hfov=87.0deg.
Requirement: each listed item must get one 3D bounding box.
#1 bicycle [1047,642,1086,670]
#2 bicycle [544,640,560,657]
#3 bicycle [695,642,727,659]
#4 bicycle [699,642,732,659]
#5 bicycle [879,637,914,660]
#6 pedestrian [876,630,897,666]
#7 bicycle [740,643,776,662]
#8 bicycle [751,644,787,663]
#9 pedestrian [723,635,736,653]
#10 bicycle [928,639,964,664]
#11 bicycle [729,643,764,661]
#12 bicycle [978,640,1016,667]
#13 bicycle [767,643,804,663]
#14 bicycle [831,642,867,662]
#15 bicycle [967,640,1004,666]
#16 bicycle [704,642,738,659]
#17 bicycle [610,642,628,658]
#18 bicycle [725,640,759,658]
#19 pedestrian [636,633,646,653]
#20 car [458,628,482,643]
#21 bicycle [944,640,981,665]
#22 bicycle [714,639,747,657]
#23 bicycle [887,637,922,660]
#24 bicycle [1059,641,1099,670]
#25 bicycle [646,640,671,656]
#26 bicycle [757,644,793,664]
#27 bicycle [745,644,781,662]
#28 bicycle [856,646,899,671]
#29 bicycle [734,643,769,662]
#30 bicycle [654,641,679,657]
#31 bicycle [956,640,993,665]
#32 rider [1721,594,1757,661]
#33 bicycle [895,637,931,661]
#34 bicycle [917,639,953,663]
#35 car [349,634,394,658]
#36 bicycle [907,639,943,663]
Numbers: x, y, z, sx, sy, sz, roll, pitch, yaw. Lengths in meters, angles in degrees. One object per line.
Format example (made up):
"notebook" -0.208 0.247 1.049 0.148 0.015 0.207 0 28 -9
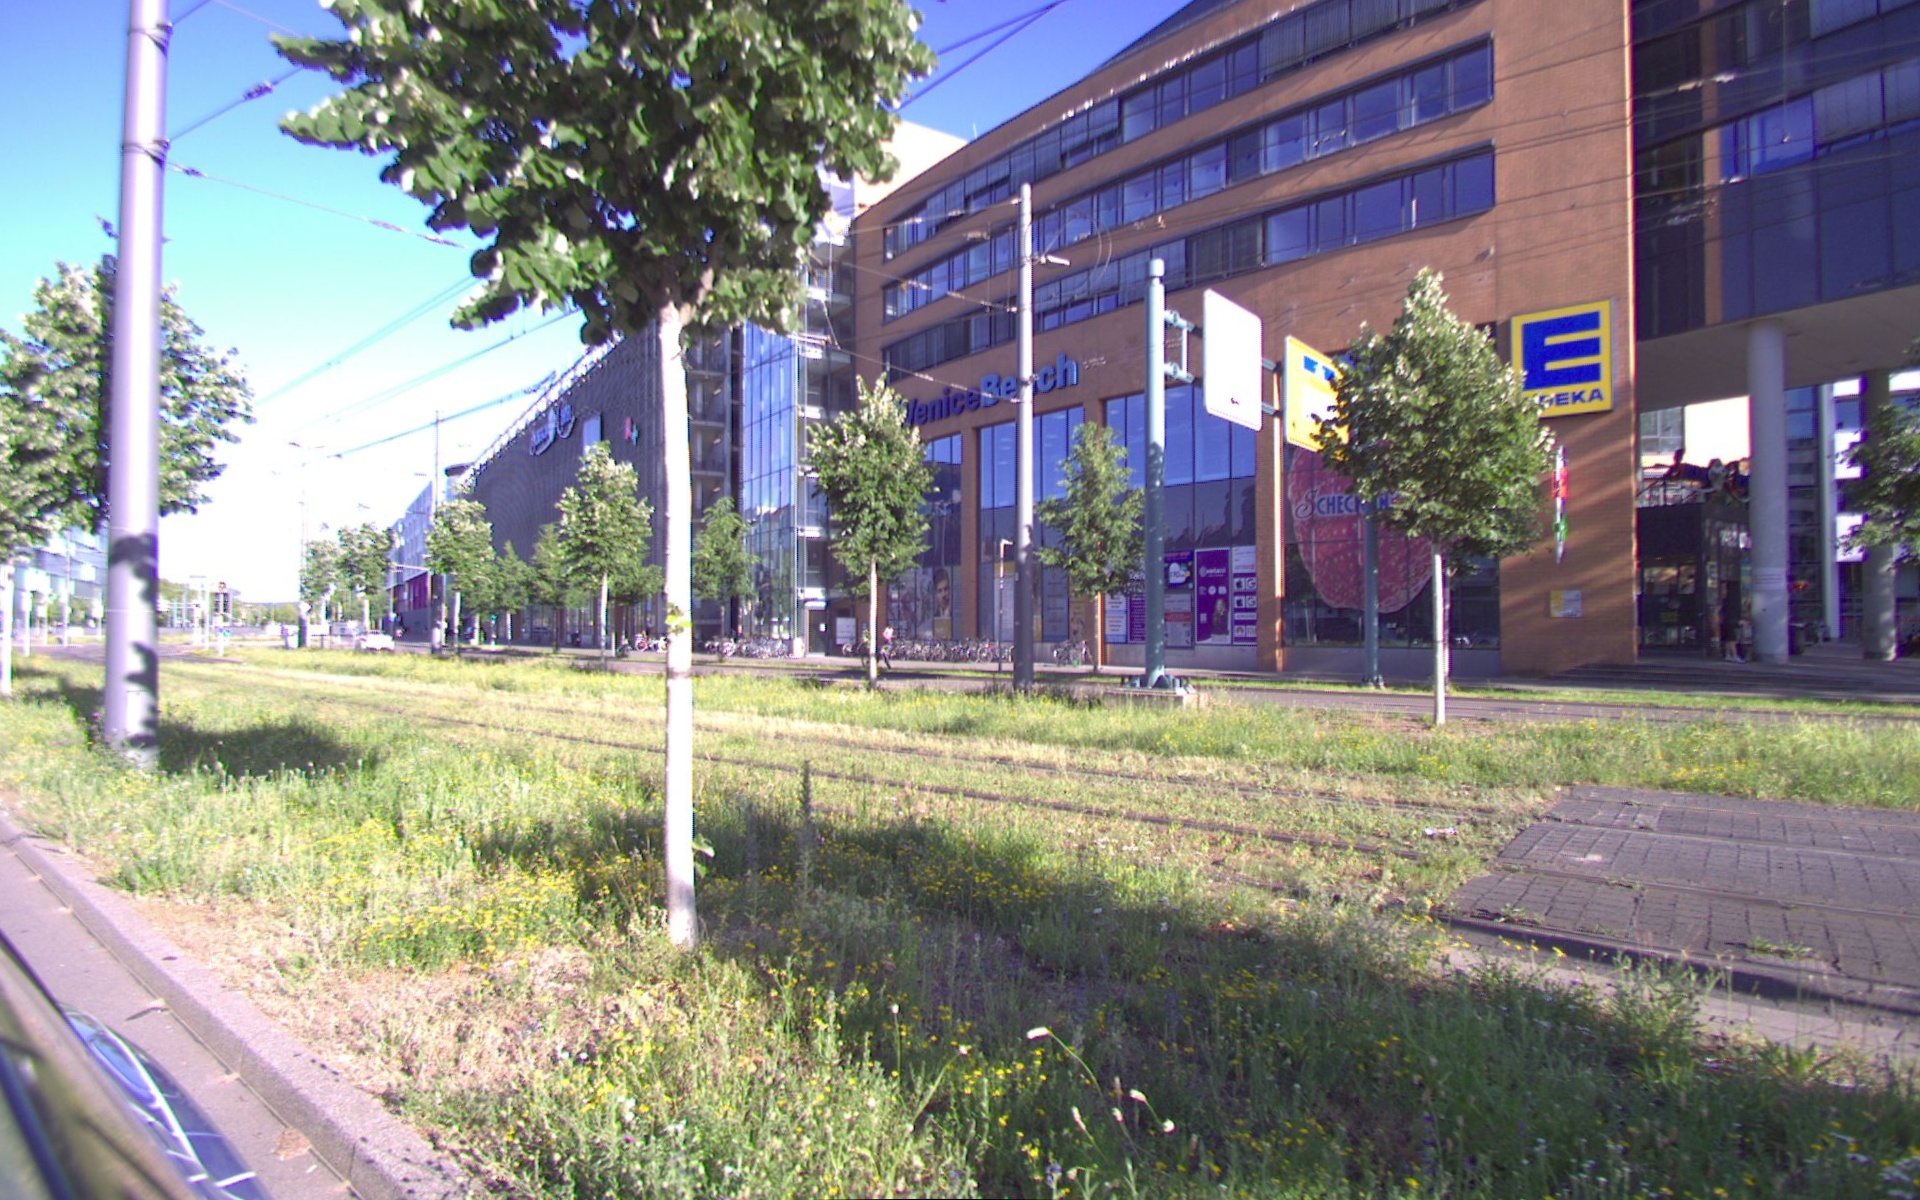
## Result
"bicycle" 4.139 2.175 39.394 1.744 1.057 0.491 1 -2 -43
"bicycle" -23.677 2.824 58.689 0.380 0.930 1.775 1 -2 -38
"bicycle" -14.198 2.869 57.774 1.742 0.933 0.492 1 -2 -34
"bicycle" -13.789 2.828 57.149 1.742 0.933 0.492 1 -2 -34
"bicycle" -3.000 2.292 47.938 1.744 1.057 0.491 1 -2 -43
"pedestrian" -3.506 2.284 48.535 0.736 1.681 0.676 1 -2 -44
"bicycle" -10.544 2.741 52.789 1.742 0.933 0.566 1 -2 -34
"bicycle" -9.734 2.719 51.622 1.742 0.933 0.566 1 -2 -34
"pedestrian" -14.285 2.725 62.695 0.620 1.063 0.450 1 -2 -38
"bicycle" -0.628 2.299 45.301 1.744 1.057 0.491 1 -2 -43
"bicycle" -11.400 2.764 53.976 1.742 0.933 0.566 1 -2 -34
"bicycle" 1.575 2.242 42.624 1.744 1.057 0.491 1 -2 -43
"bicycle" -8.641 2.629 50.101 1.742 0.933 0.566 1 -2 -34
"bicycle" -5.621 2.626 51.314 1.742 0.933 0.566 1 -2 -34
"bicycle" 1.081 2.254 43.195 1.744 1.057 0.491 1 -2 -43
"bicycle" -13.370 2.817 56.593 1.742 0.933 0.566 1 -2 -34
"bicycle" -18.929 2.772 56.182 0.380 0.875 1.775 1 -2 -38
"bicycle" -11.733 2.650 54.569 1.742 0.933 0.492 1 -2 -34
"pedestrian" -20.414 2.742 64.716 0.442 1.299 0.631 1 -2 -38
"car" -54.476 3.914 112.497 1.560 1.541 3.758 -1 -1 -38
"bicycle" 0.115 2.279 44.262 1.744 1.057 0.491 1 -2 -43
"bicycle" -12.626 2.631 55.694 1.742 0.933 0.492 1 -2 -34
"bicycle" -2.616 2.283 47.527 1.744 1.057 0.491 1 -2 -43
"bicycle" 4.591 2.120 38.952 1.744 1.057 0.491 1 -2 -43
"bicycle" -18.613 2.963 62.507 1.377 0.933 0.463 1 -2 -34
"bicycle" -9.299 2.707 50.930 1.742 0.933 0.566 1 -2 -34
"bicycle" -10.141 2.730 52.236 1.742 0.933 0.566 1 -2 -34
"bicycle" -3.048 2.162 37.274 1.770 0.875 0.458 -2 -2 40
"bicycle" -11.002 2.753 53.365 1.742 0.933 0.566 1 -2 -34
"bicycle" -17.760 2.940 61.315 1.377 0.933 0.463 1 -2 -34
"bicycle" 0.616 2.266 43.708 1.744 1.057 0.491 1 -2 -43
"rider" 21.410 0.755 27.815 0.712 1.816 0.710 -2 -2 41
"bicycle" -2.180 2.272 47.082 1.744 1.057 0.491 1 -2 -43
"bicycle" -1.143 2.311 45.843 1.744 1.057 0.491 1 -2 -43
"car" -35.582 2.760 61.131 1.782 1.338 4.414 2 -2 -38
"bicycle" -1.578 2.322 46.313 1.744 1.057 0.491 1 -2 -43
